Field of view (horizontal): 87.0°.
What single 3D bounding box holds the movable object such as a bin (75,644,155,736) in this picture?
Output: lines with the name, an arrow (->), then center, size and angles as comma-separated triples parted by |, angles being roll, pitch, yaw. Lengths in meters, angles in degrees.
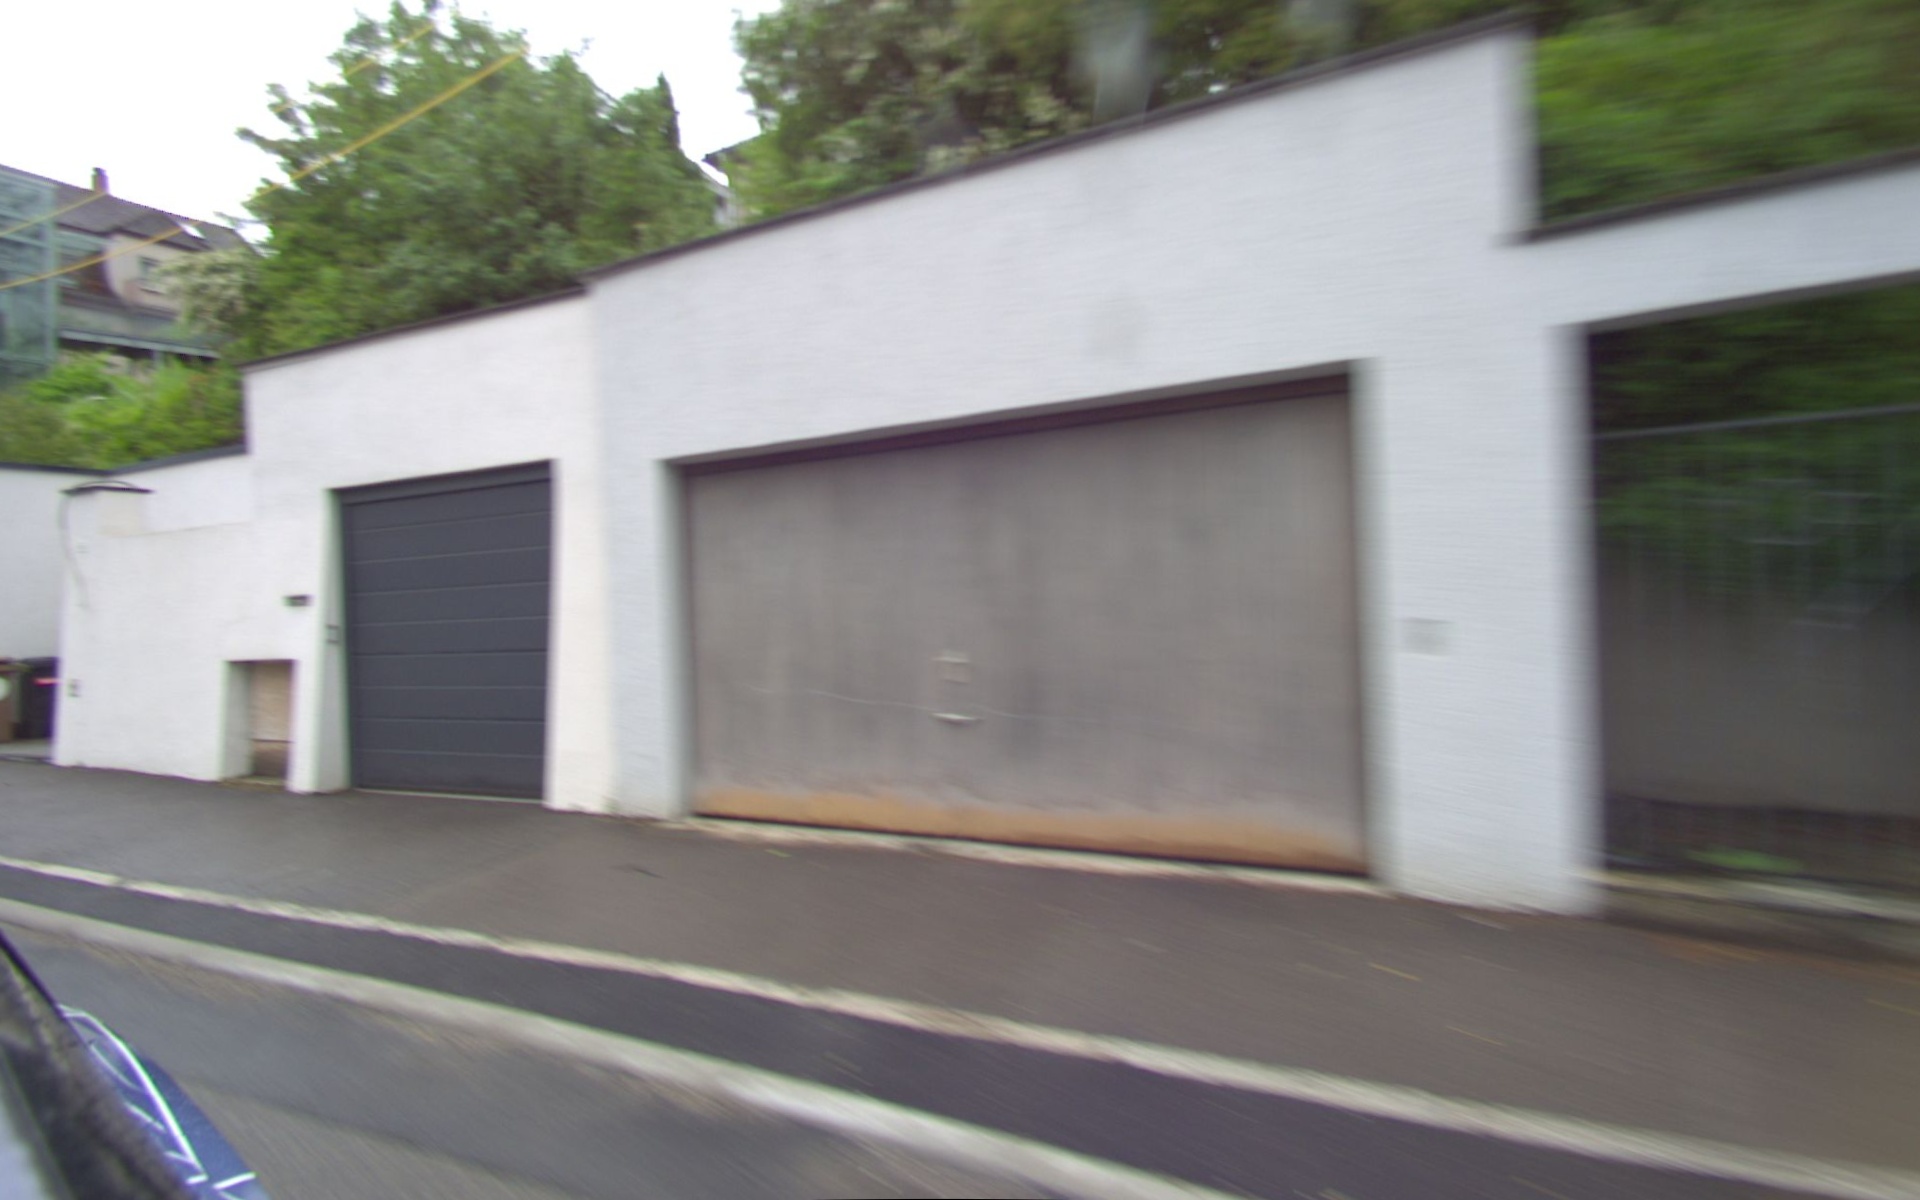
movable object such as a bin -> -10.085, 1.062, 12.080 | 0.583, 1.029, 0.501 | -1, 2, 25

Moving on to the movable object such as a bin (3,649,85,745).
movable object such as a bin -> -10.548, 1.103, 11.661 | 0.519, 1.029, 0.501 | -1, 2, 25

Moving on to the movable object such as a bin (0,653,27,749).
movable object such as a bin -> -10.784, 1.124, 11.191 | 0.519, 1.029, 0.501 | -1, 2, 25
